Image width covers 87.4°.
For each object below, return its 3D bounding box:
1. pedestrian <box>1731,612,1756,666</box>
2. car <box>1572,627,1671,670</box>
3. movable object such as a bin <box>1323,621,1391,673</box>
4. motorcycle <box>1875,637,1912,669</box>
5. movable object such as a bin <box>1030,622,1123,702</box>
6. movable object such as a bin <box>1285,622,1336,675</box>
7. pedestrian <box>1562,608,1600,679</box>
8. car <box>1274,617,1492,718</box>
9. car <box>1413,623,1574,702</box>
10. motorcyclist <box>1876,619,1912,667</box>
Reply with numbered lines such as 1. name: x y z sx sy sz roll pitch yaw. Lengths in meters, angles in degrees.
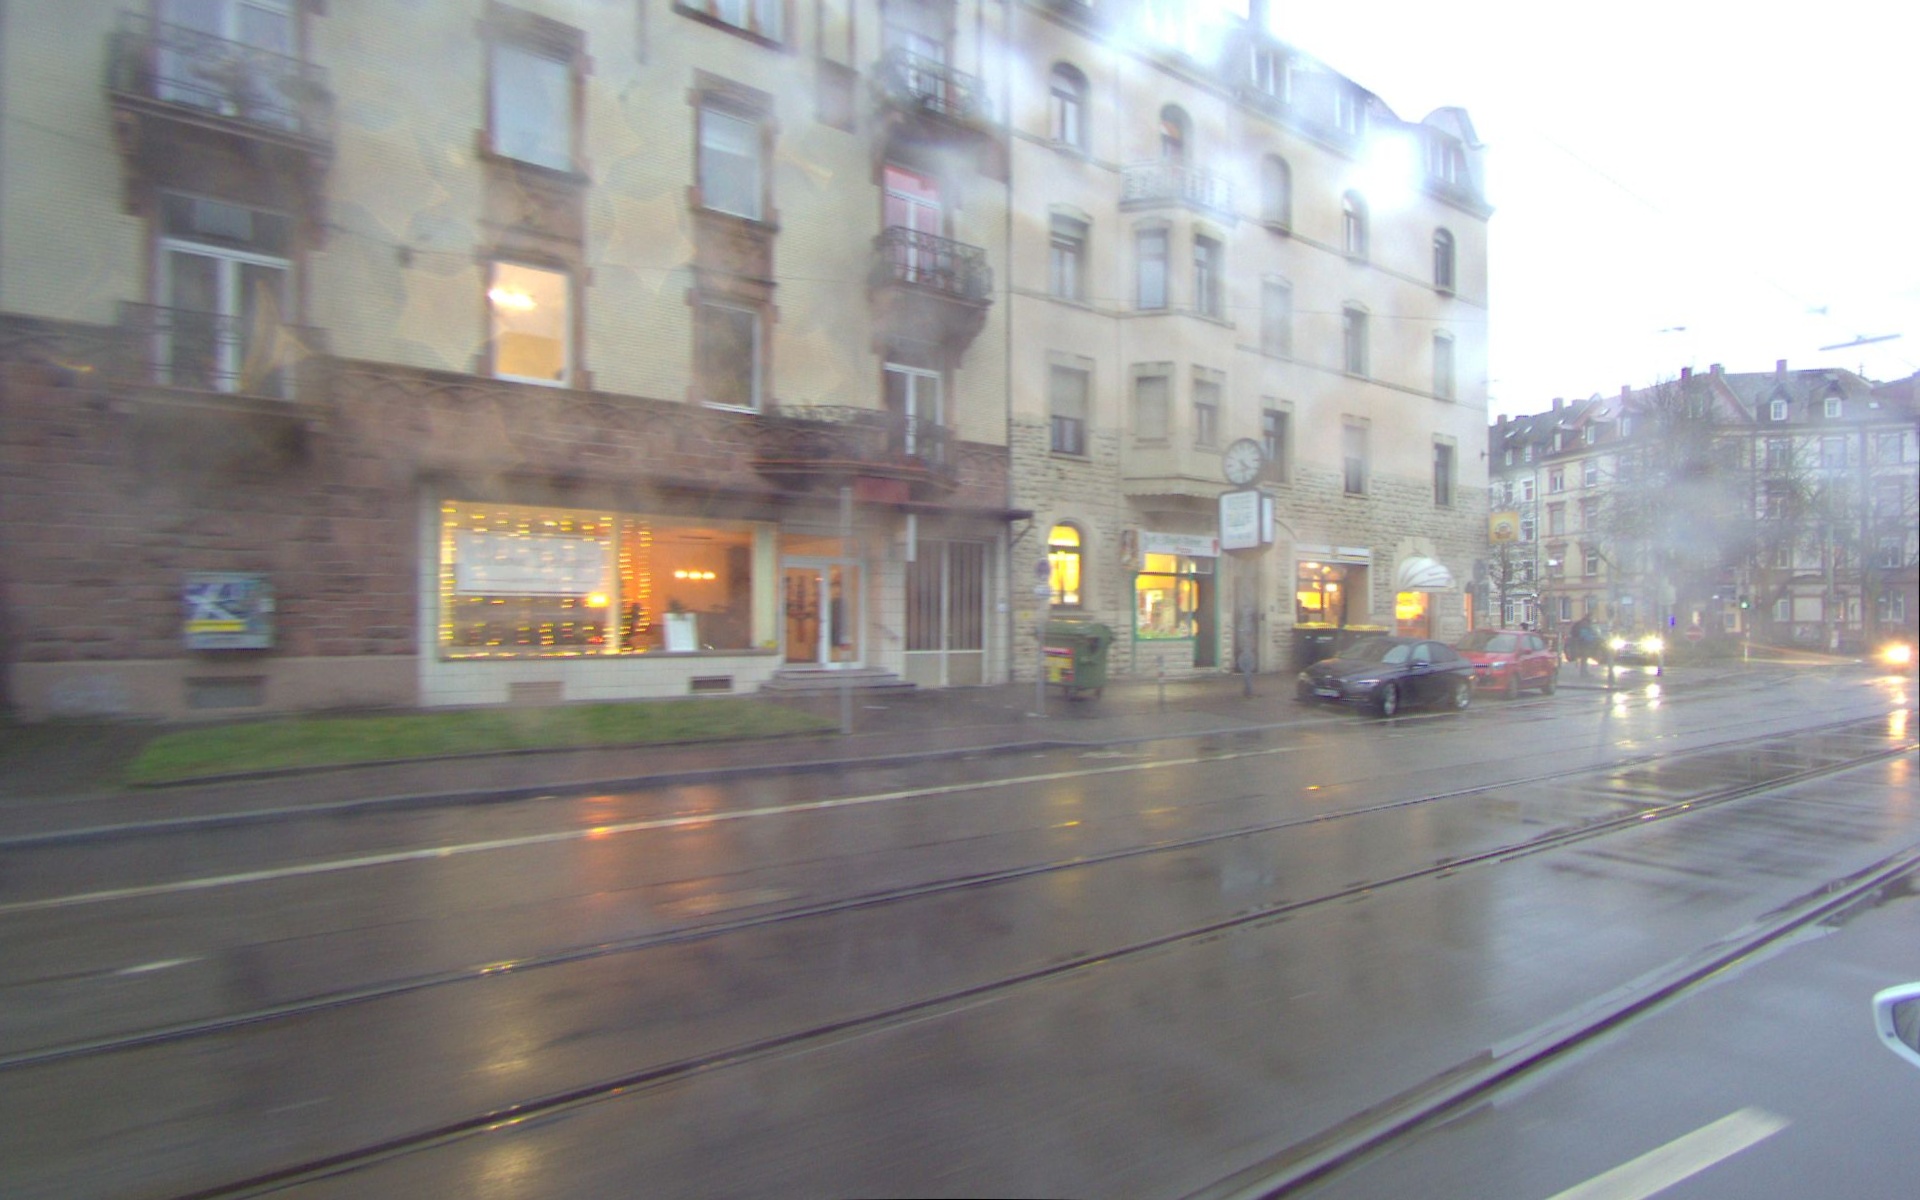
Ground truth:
1. pedestrian: 29.915 1.495 38.355 0.695 2.040 0.658 0 -1 36
2. car: 28.184 2.039 42.940 1.981 1.695 4.003 0 -1 8
3. movable object such as a bin: 10.962 1.265 27.731 1.240 1.385 1.285 1 -1 -35
4. motorcycle: 31.001 1.731 33.343 0.847 1.005 1.906 -1 -1 45
5. movable object such as a bin: 2.209 1.139 19.109 1.237 1.439 1.259 1 -1 -34
6. movable object such as a bin: 9.534 1.297 27.334 0.996 1.396 0.893 1 -1 -35
7. pedestrian: 18.288 1.264 29.576 0.635 2.040 0.758 1 -1 2
8. car: 8.601 1.302 20.274 4.589 1.667 1.971 2 3 -38
9. car: 12.872 1.428 24.166 3.998 1.573 2.020 0 3 -40
10. motorcyclist: 31.001 1.421 33.342 0.835 1.569 1.008 -1 -1 45
